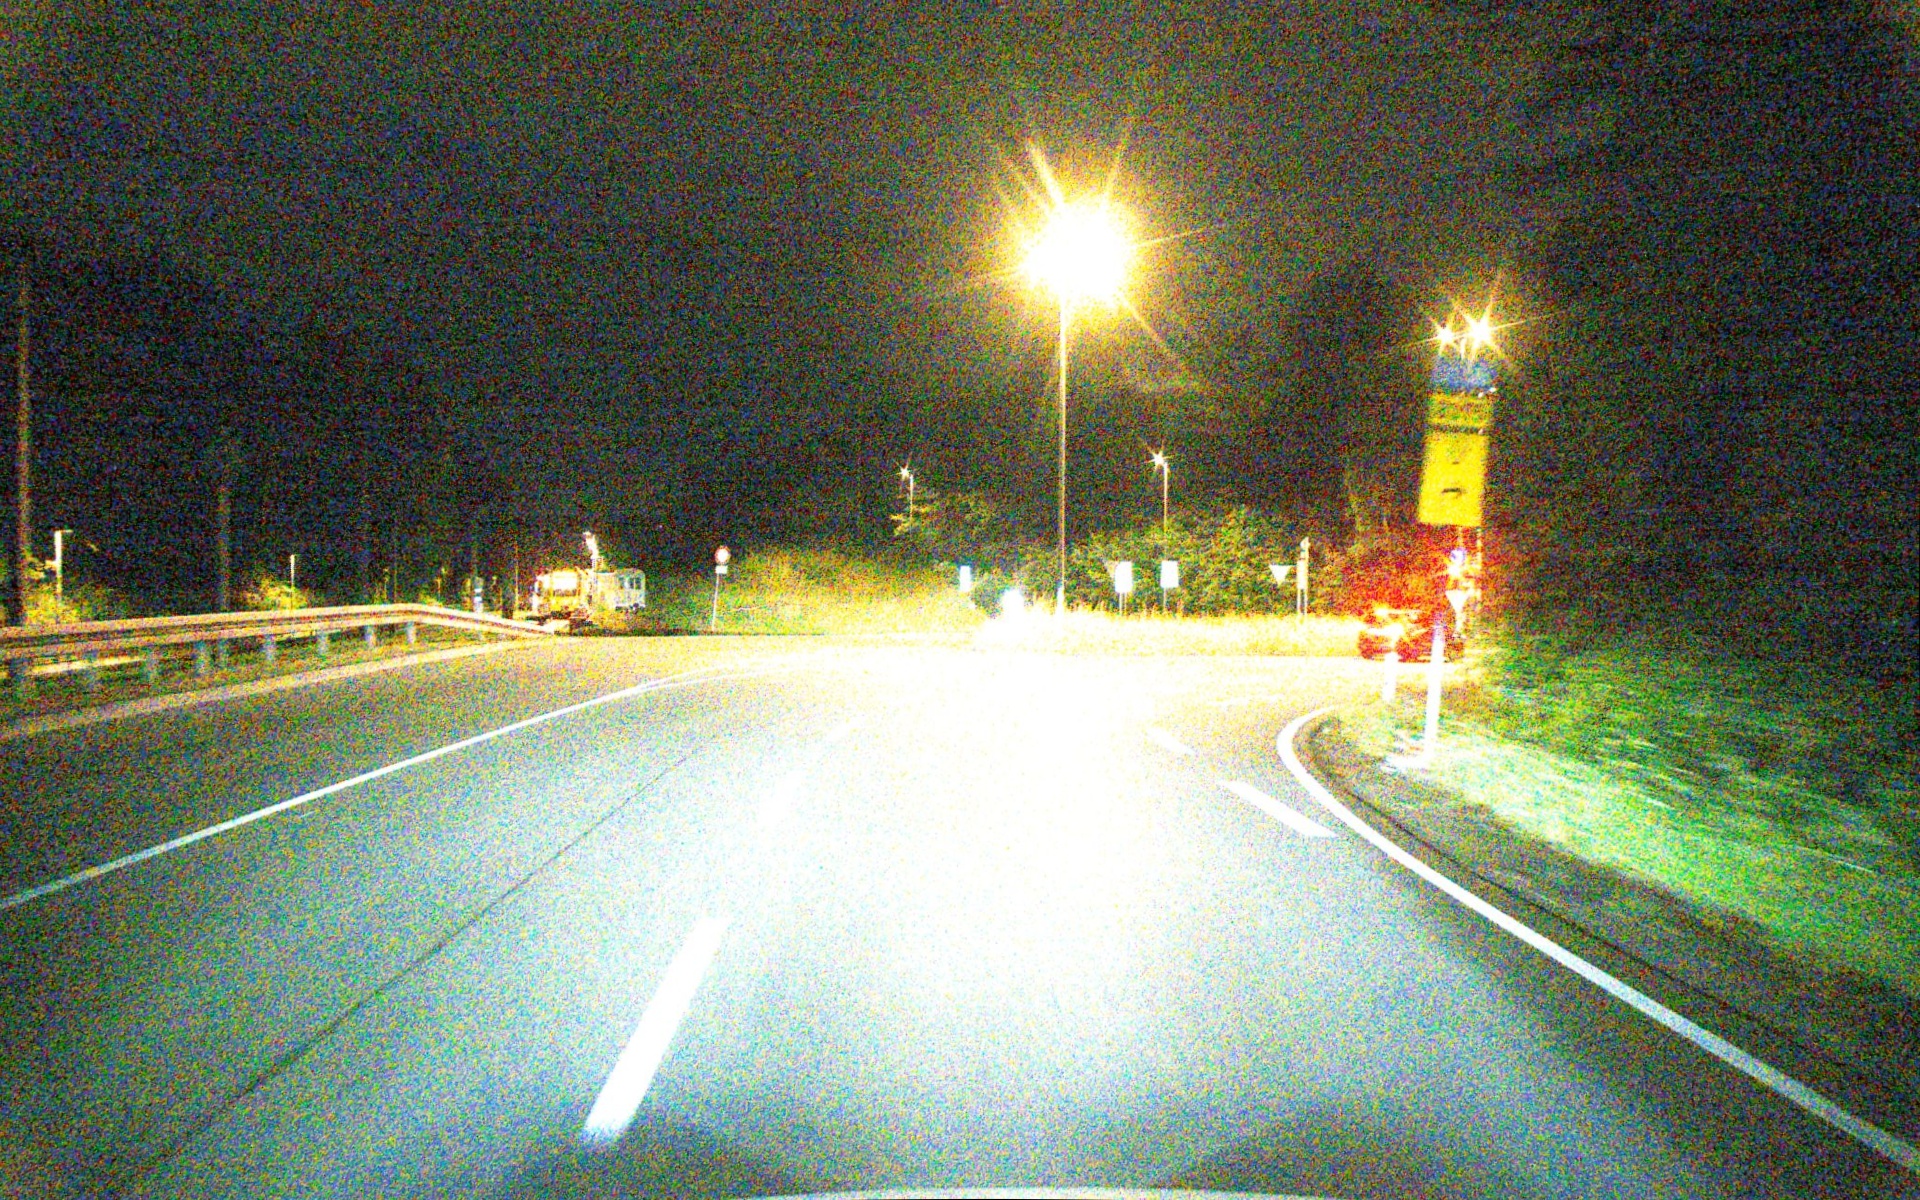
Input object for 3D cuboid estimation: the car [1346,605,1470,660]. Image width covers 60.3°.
[{"bbox_3d":[14.260,1.039,52.555,3.968,1.610,1.832,2,1,-40],"label":"car"}]
